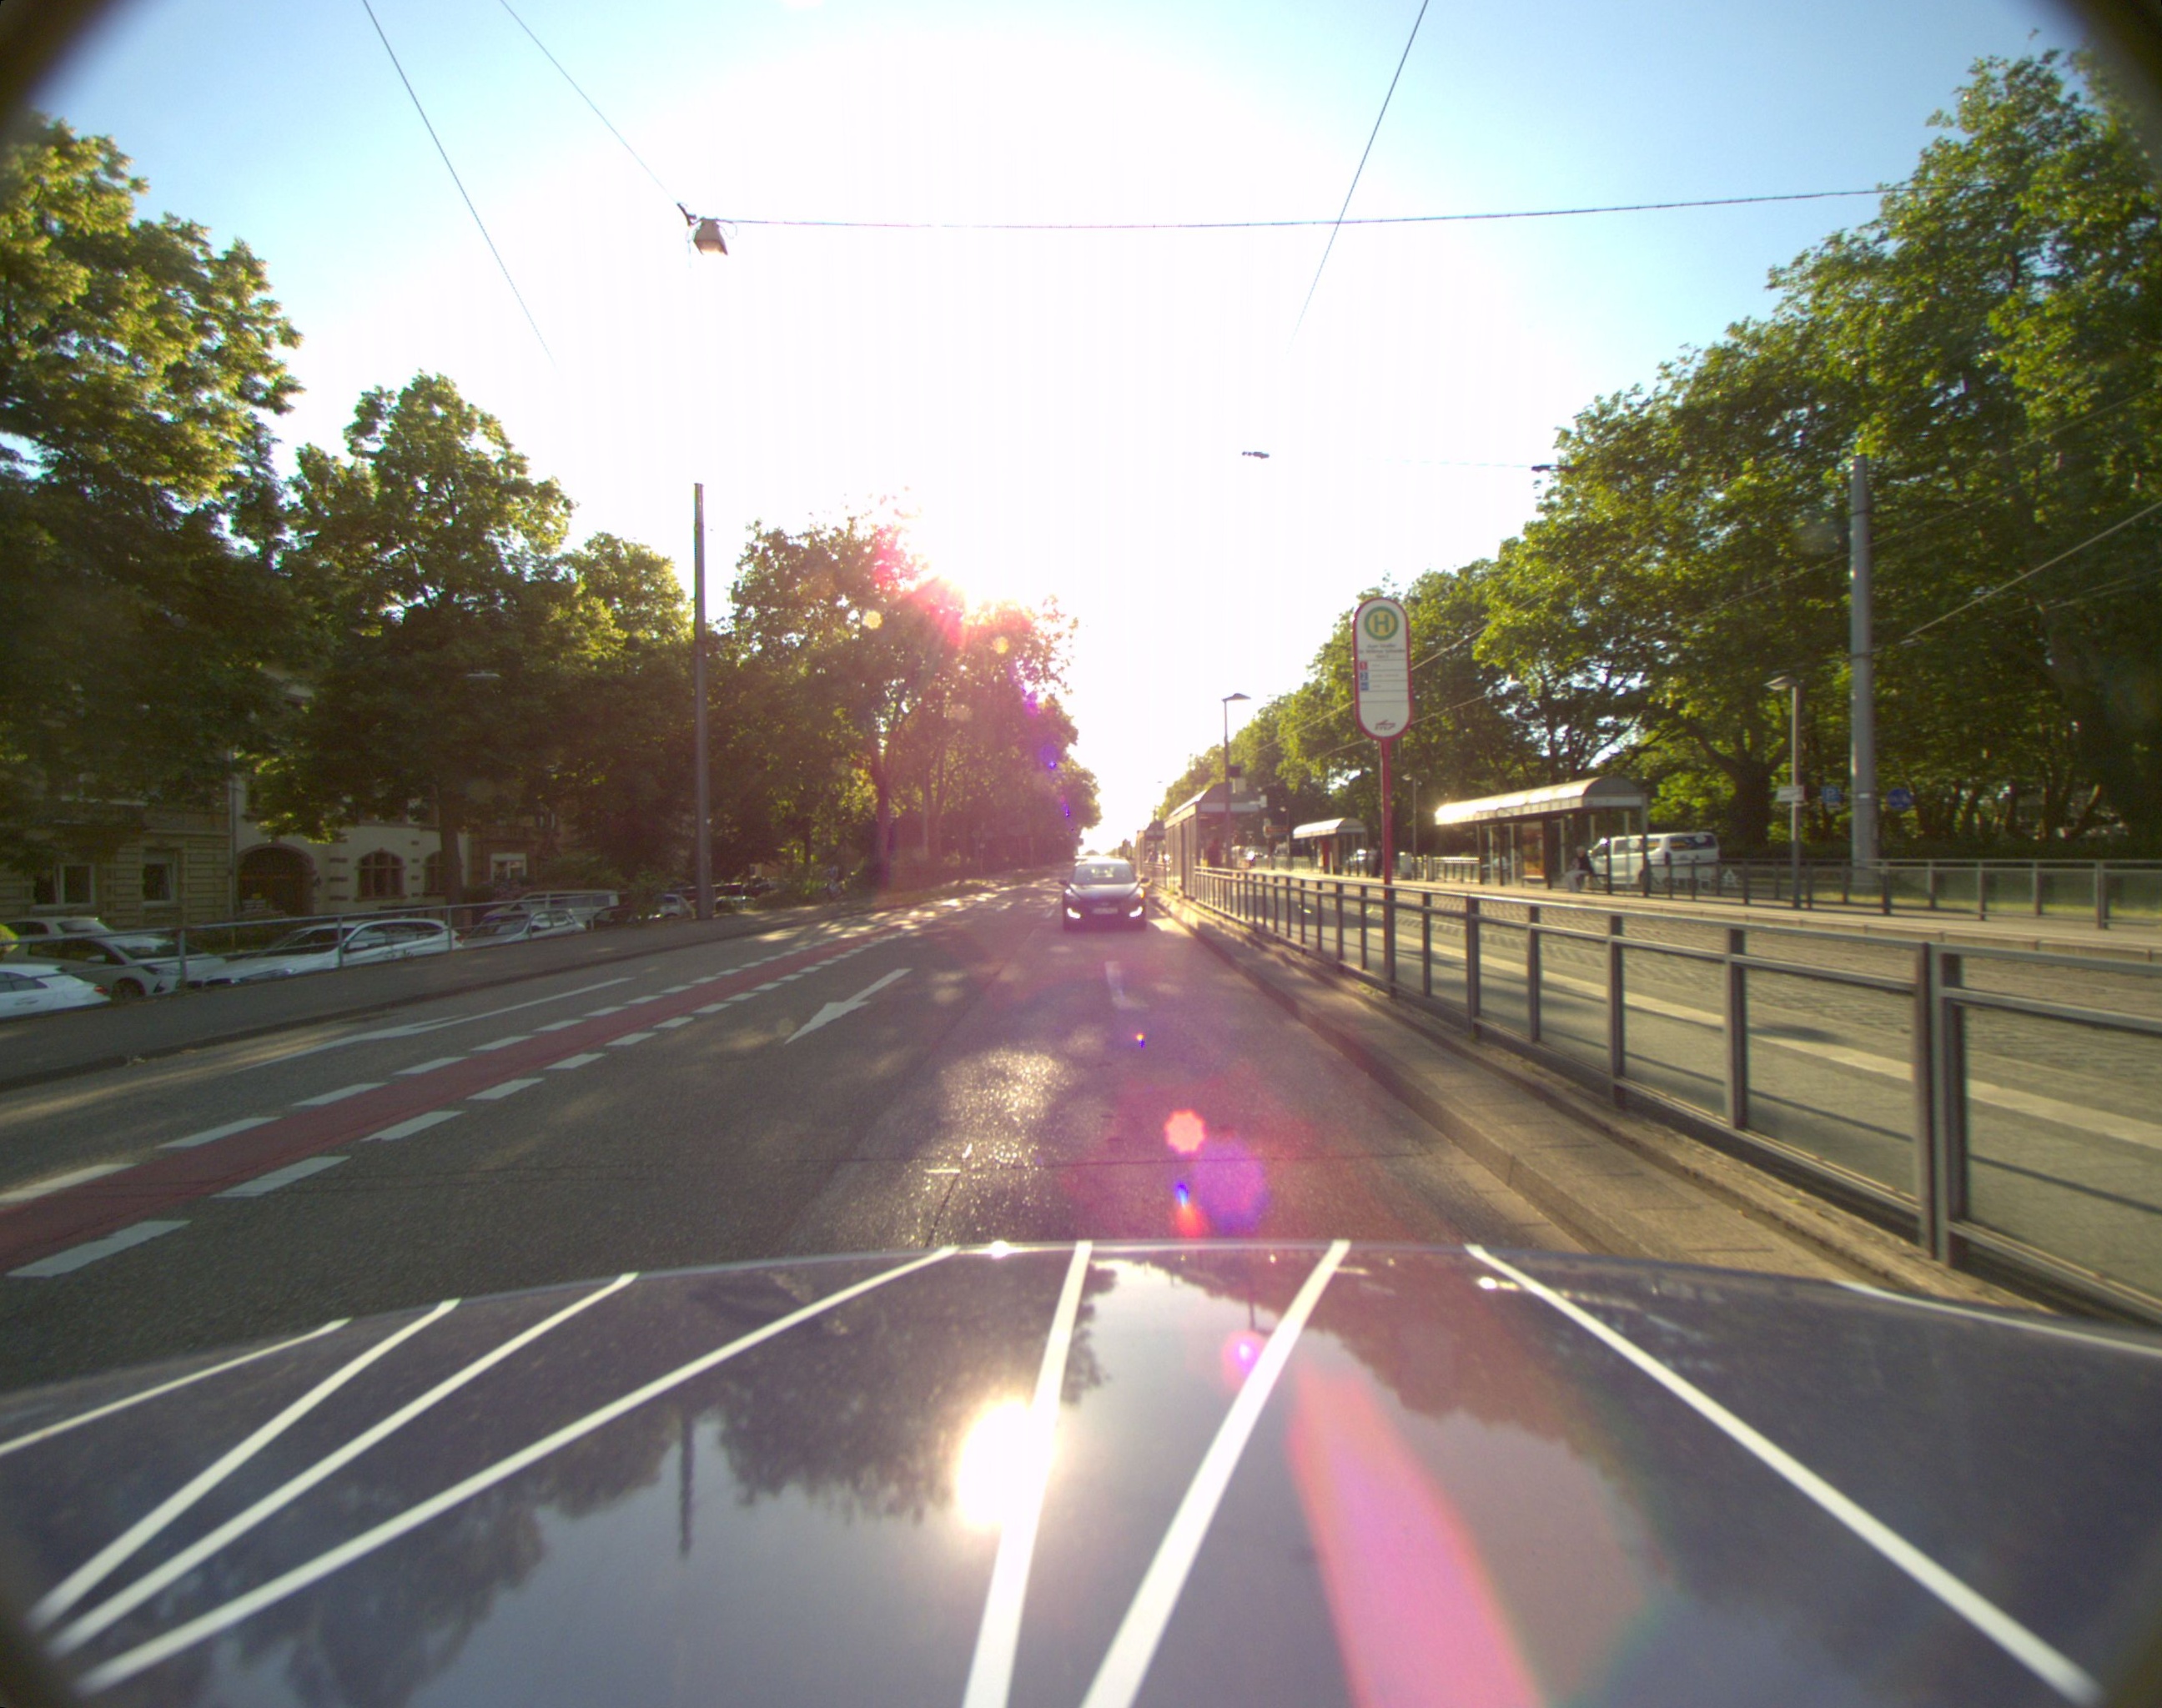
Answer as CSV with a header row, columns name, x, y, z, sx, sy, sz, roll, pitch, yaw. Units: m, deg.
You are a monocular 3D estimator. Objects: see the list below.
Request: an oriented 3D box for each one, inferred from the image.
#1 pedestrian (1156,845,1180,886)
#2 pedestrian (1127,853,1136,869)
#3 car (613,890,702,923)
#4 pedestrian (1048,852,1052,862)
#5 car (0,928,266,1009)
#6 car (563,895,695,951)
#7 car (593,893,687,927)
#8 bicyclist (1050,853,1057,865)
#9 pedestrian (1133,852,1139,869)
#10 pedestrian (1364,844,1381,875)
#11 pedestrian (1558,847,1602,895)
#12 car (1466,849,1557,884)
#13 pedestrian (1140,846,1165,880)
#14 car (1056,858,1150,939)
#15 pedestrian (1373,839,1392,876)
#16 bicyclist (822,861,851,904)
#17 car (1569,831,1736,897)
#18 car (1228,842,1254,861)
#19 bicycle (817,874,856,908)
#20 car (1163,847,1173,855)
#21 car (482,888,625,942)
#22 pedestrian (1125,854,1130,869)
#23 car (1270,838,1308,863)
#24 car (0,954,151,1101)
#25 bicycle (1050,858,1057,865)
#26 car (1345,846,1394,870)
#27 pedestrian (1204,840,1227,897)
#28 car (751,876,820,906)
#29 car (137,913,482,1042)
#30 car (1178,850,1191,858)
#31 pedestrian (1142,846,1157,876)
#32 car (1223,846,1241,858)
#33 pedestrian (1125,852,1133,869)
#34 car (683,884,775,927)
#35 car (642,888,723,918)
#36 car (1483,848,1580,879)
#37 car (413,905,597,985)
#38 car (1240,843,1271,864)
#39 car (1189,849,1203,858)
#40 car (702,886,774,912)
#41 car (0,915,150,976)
name,x,y,z,sx,sy,sz,roll,pitch,yaw
pedestrian,3.768,0.485,32.912,0.654,1.712,0.708,-3,1,-34
pedestrian,4.407,0.623,66.374,0.592,1.398,0.558,0,1,-19
car,-22.327,2.747,40.122,4.007,1.501,1.796,0,-1,-31
pedestrian,-5.211,0.436,127.234,0.649,1.626,0.928,1,1,2
car,-21.054,2.491,16.832,3.997,1.505,1.800,0,0,-1
car,-14.269,2.137,24.282,1.799,1.301,3.999,-2,1,-1
car,-21.605,2.688,37.275,3.932,1.443,1.685,0,-1,-33
bicyclist,-4.005,0.731,111.020,0.700,1.718,1.081,-1,0,9
pedestrian,4.918,0.561,67.596,0.521,1.464,0.514,1,1,2
pedestrian,14.509,0.260,37.860,0.594,1.535,0.626,-2,1,1
pedestrian,13.924,0.465,21.208,0.671,1.317,0.757,1,1,-1
car,20.367,0.537,36.176,1.799,1.501,4.340,0,1,-1
pedestrian,3.568,0.464,37.667,0.800,1.624,0.868,-3,0,39
car,0.470,0.898,17.092,1.798,1.501,4.000,-2,0,1
pedestrian,14.709,0.151,37.027,0.649,1.762,0.650,-2,1,4
bicyclist,-8.664,1.002,26.958,0.768,1.504,0.650,-1,1,1
car,20.149,0.285,27.159,2.072,2.112,5.089,0,1,-1
car,21.591,-0.396,102.683,2.189,2.506,6.048,0,1,-1
bicycle,-8.665,1.286,26.987,0.768,1.101,1.800,-1,0,1
car,21.425,-0.727,187.293,1.832,1.830,4.393,0,1,-1
car,-21.547,2.437,31.305,4.690,1.954,1.868,0,-1,-31
pedestrian,4.110,0.664,66.941,0.417,1.313,0.359,1,1,1
car,21.745,-0.369,79.658,2.189,2.506,6.031,0,1,-1
car,-14.028,2.255,8.444,1.799,1.570,4.442,-2,1,1
bicycle,-3.995,1.095,111.023,0.700,1.101,1.931,-1,0,9
car,20.878,0.257,55.218,1.908,1.642,3.971,0,1,-2
pedestrian,4.034,0.434,22.804,0.596,1.668,0.589,-2,1,6
car,-21.448,2.640,55.154,4.470,2.002,1.992,0,0,-29
car,-14.164,2.164,14.455,1.799,1.570,4.552,-2,1,1
car,20.803,-0.052,152.865,1.832,1.497,4.393,0,1,-1
pedestrian,3.985,0.410,44.381,0.744,1.685,0.791,-3,1,2
car,21.712,-0.271,109.594,1.743,1.718,3.881,0,1,-1
pedestrian,4.260,0.539,67.462,0.591,1.511,0.514,1,1,2
car,-14.042,2.025,30.593,1.799,1.301,3.999,-2,1,-1
car,-22.610,2.771,43.152,4.007,1.501,1.796,0,-1,-31
car,20.233,0.367,34.377,1.774,1.284,4.314,0,1,-1
car,-14.117,2.175,18.913,1.799,1.433,3.576,-2,1,-1
car,21.721,-0.125,94.818,2.189,2.506,6.269,0,1,-2
car,20.915,-0.089,138.626,1.832,1.428,4.323,0,1,-1
car,-22.035,2.854,48.844,4.007,1.501,1.796,0,-1,-31
car,-29.838,2.619,21.950,3.575,1.513,1.800,0,0,-2
